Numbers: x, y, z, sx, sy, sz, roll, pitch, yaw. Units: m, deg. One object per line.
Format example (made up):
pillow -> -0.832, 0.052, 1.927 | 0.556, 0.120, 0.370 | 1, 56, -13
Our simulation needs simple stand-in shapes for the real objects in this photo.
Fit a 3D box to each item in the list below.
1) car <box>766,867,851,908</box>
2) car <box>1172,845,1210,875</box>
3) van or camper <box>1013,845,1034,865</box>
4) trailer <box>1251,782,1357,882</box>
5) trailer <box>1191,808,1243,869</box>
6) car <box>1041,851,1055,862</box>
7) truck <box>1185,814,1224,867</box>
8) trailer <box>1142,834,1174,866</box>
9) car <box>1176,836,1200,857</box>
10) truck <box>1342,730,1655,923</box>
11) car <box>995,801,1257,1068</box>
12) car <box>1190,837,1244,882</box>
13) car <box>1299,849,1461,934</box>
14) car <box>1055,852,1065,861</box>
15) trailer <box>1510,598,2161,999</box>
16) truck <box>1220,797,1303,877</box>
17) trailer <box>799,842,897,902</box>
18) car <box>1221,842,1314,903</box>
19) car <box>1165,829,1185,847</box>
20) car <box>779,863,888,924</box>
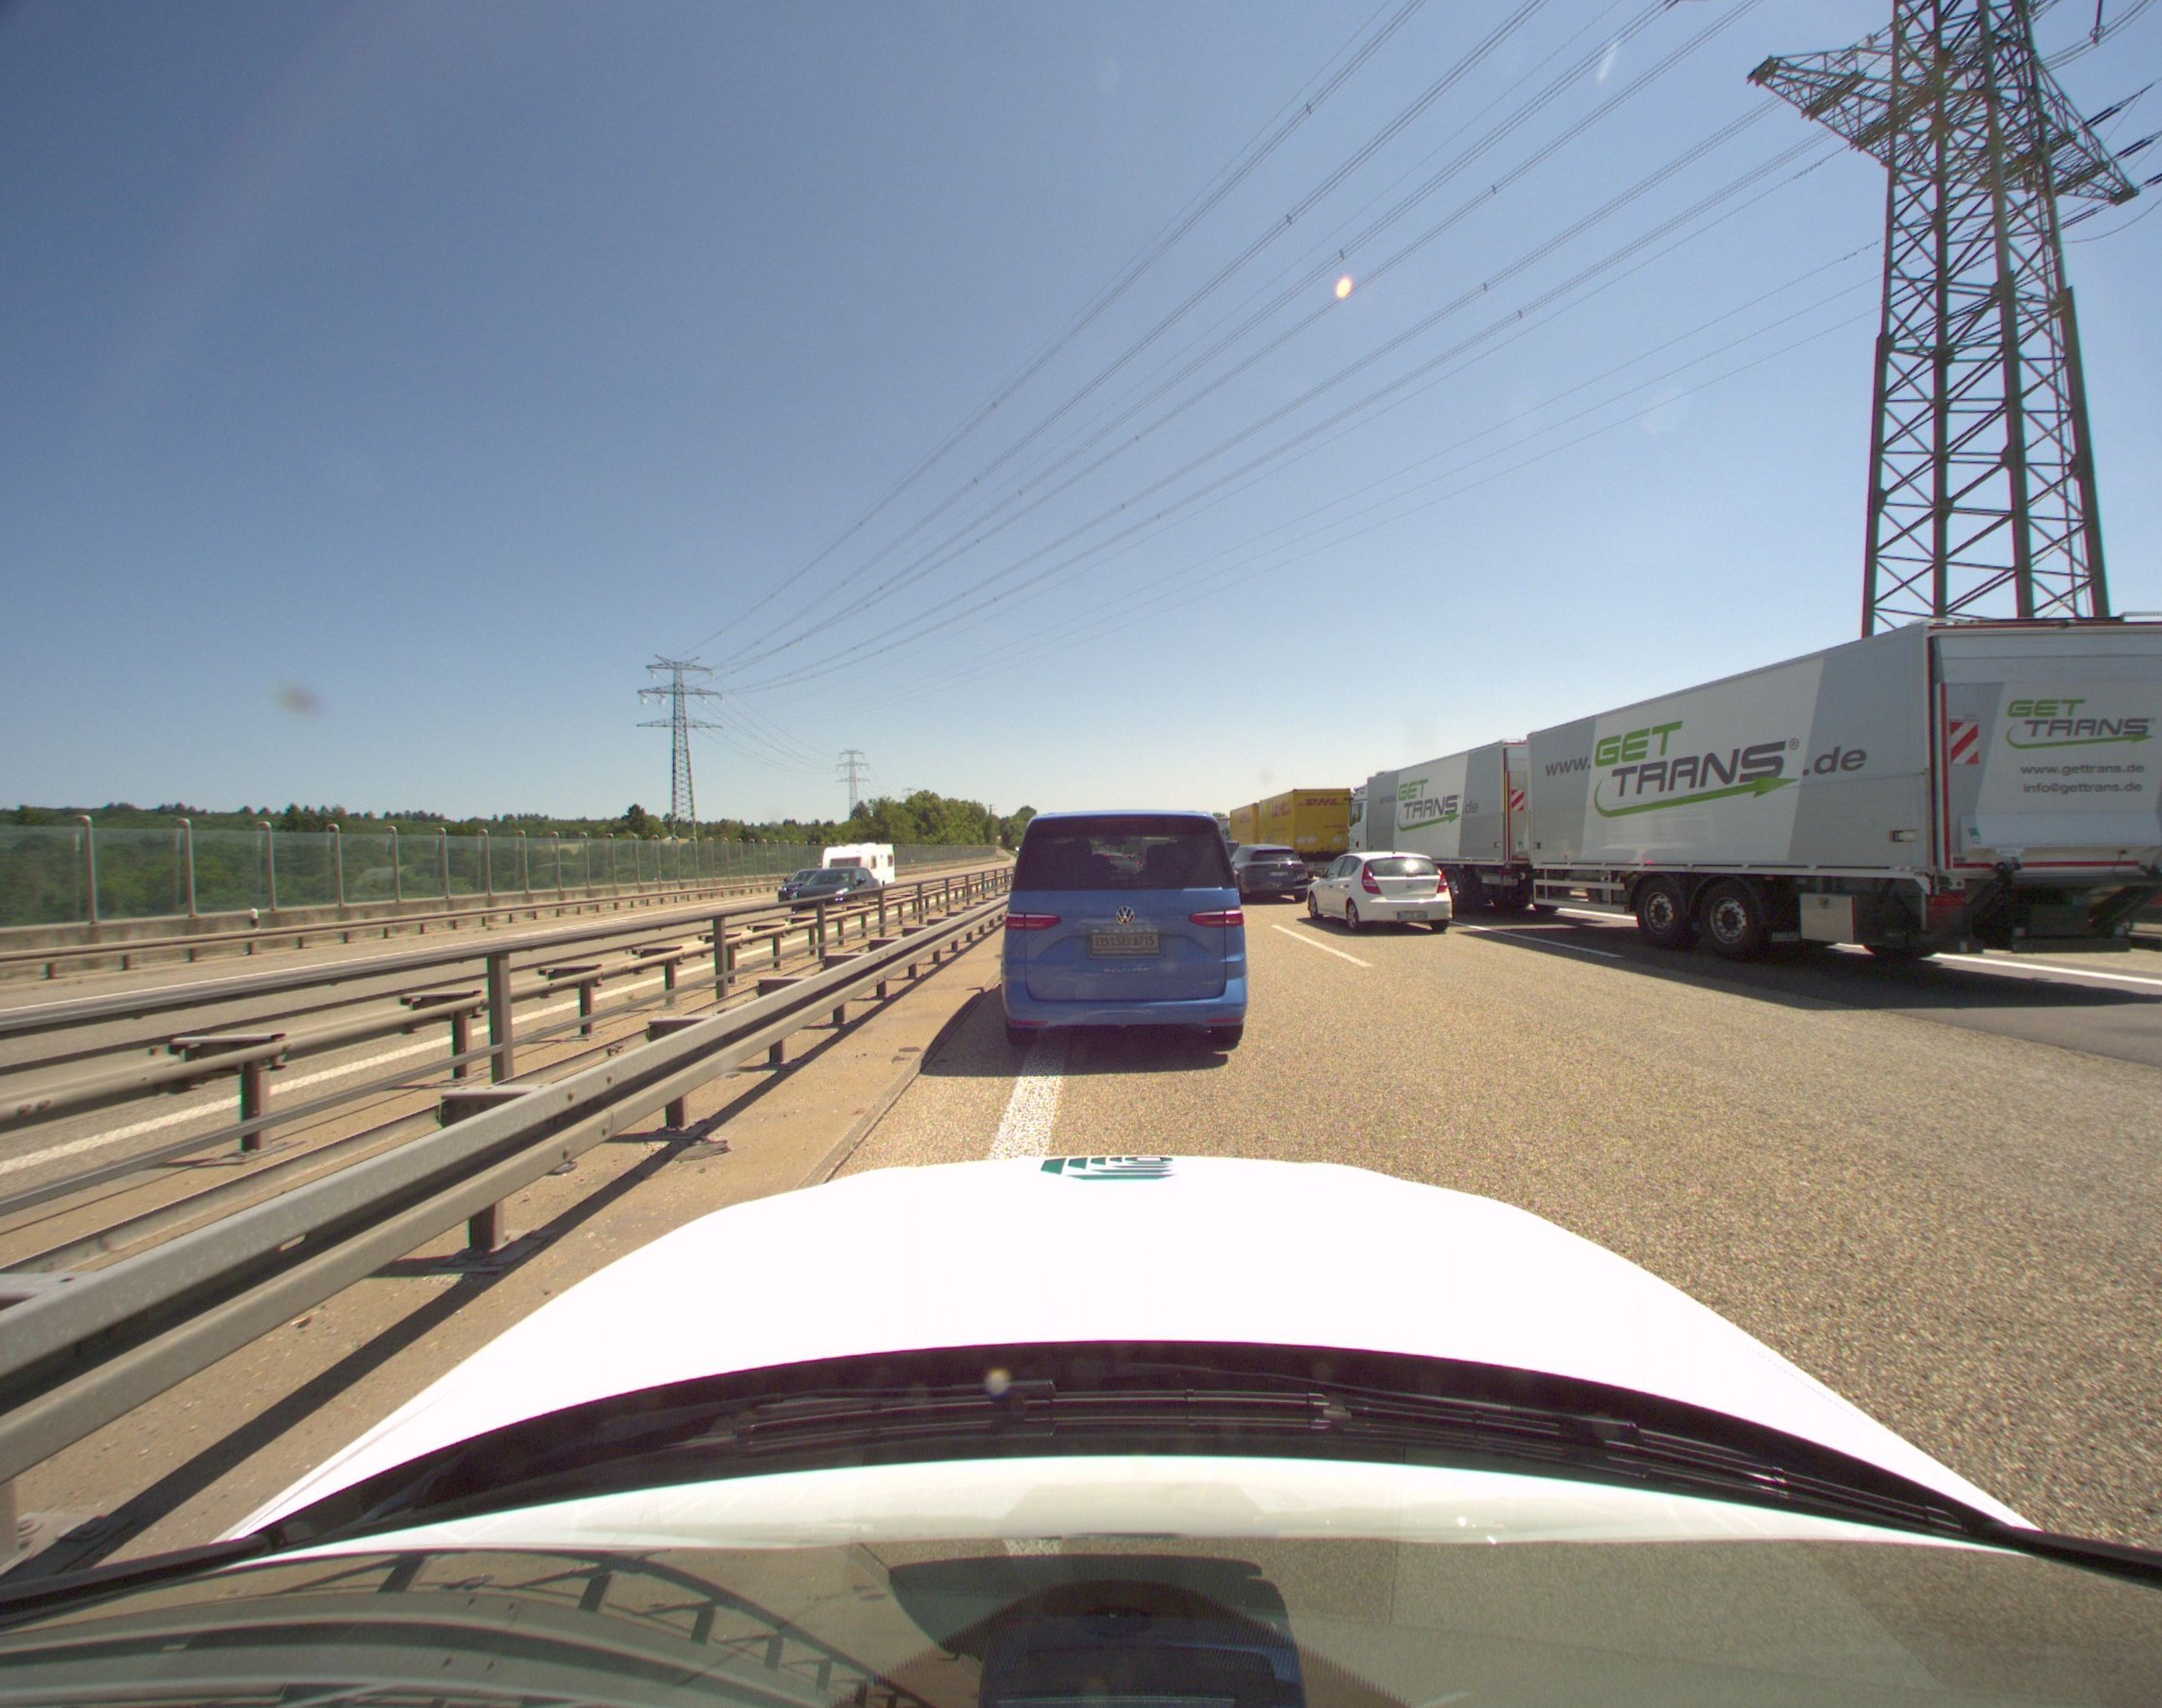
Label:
car -> -11.256, 1.341, 33.975 | 1.769, 1.407, 4.684 | -4, 0, 2
car -> 6.972, 0.364, 52.059 | 1.986, 1.816, 4.002 | -1, 0, 2
van or camper -> -9.353, 0.190, 133.140 | 2.413, 3.023, 7.030 | -3, 0, 2
trailer -> 10.426, -0.927, 39.101 | 2.854, 4.239, 9.015 | -1, 0, 2
trailer -> 10.843, -1.172, 66.150 | 2.627, 4.516, 11.305 | -1, 0, 2
car -> -5.479, 0.414, 135.757 | 1.860, 1.531, 4.426 | -5, 0, 2
truck -> 11.065, -1.153, 73.623 | 2.657, 4.484, 6.853 | -1, 0, 2
trailer -> 7.536, -0.323, 81.001 | 2.559, 2.990, 10.668 | -1, 0, 2
car -> 10.868, -0.748, 82.834 | 1.986, 2.014, 4.002 | -1, 0, 2
truck -> 9.788, -0.548, 21.155 | 2.647, 3.648, 11.013 | -1, 0, 1
car -> 0.383, 0.568, 7.730 | 1.813, 1.857, 4.076 | -1, 0, 2
car -> 6.445, 0.230, 39.141 | 1.954, 1.993, 4.295 | -1, 0, 2
car -> 5.826, 0.654, 16.433 | 1.782, 1.455, 4.295 | -1, 0, 2
car -> -4.573, 0.442, 176.764 | 1.860, 1.699, 4.431 | -4, 1, 1
trailer -> 9.539, -0.538, 11.630 | 2.688, 3.700, 8.017 | -1, 0, 1
truck -> 10.595, -0.897, 49.191 | 2.826, 4.243, 11.013 | -1, 0, 1
trailer -> -11.151, 0.797, 39.743 | 2.484, 2.549, 6.777 | -3, 0, 2
car -> 5.576, 0.515, 24.859 | 1.954, 1.644, 4.295 | -1, 0, 2
car -> 11.586, -1.950, 100.427 | 1.986, 2.013, 4.463 | -2, 0, 2
car -> -7.077, 1.077, 23.734 | 1.662, 1.448, 4.003 | -5, 0, 3
